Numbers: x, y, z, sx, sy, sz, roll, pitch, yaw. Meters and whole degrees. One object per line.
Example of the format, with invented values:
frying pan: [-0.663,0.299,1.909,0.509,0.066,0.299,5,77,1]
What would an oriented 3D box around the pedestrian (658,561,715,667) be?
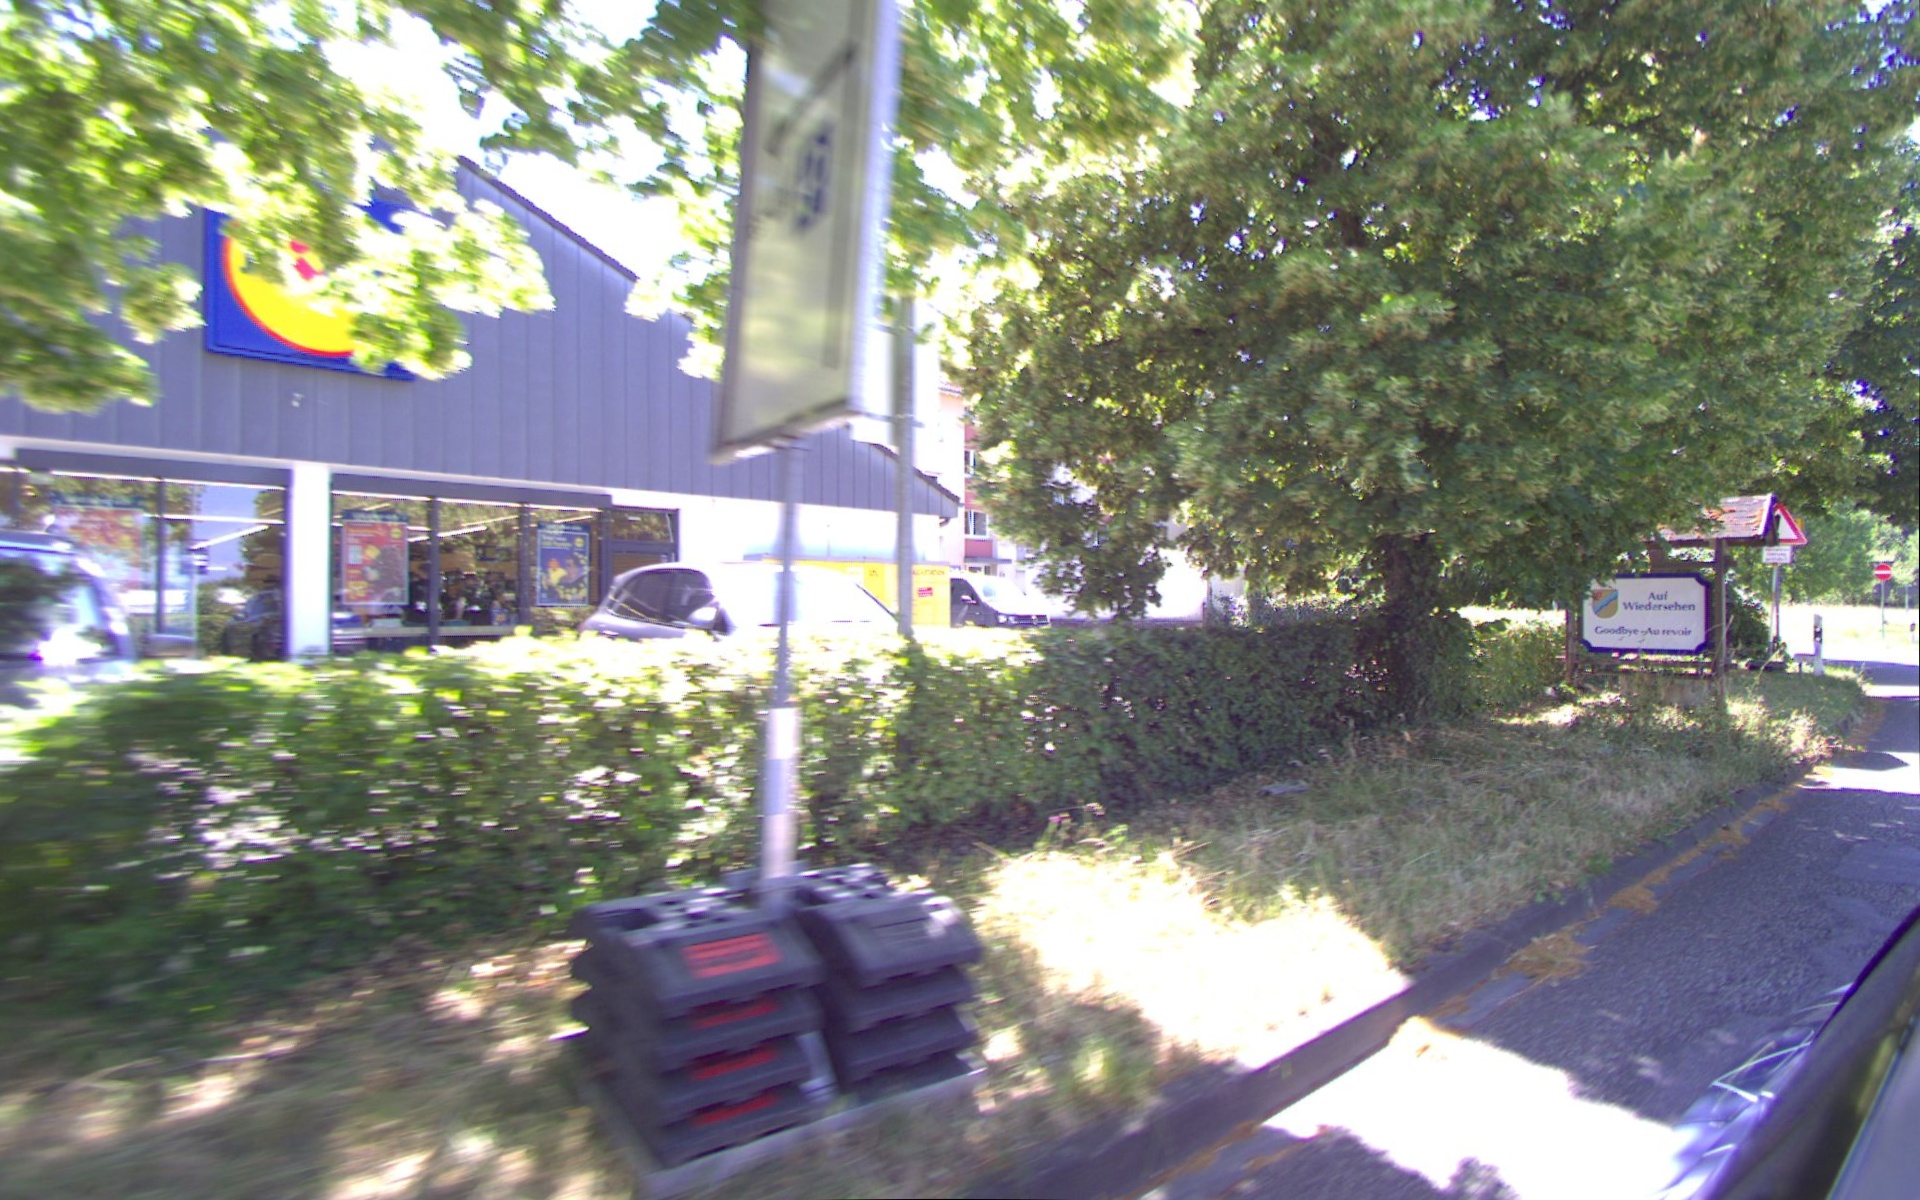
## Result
pedestrian: [-4.690,0.224,17.361,0.686,1.763,0.762,0,0,-41]

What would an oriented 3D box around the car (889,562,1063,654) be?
car: [0.335,0.167,24.606,3.988,2.039,1.968,0,0,45]

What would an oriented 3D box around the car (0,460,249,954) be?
car: [-5.179,0.388,5.042,1.967,1.698,4.851,0,-1,-44]

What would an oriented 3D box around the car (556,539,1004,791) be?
car: [-1.733,0.415,8.803,1.967,1.660,3.989,0,0,-44]
